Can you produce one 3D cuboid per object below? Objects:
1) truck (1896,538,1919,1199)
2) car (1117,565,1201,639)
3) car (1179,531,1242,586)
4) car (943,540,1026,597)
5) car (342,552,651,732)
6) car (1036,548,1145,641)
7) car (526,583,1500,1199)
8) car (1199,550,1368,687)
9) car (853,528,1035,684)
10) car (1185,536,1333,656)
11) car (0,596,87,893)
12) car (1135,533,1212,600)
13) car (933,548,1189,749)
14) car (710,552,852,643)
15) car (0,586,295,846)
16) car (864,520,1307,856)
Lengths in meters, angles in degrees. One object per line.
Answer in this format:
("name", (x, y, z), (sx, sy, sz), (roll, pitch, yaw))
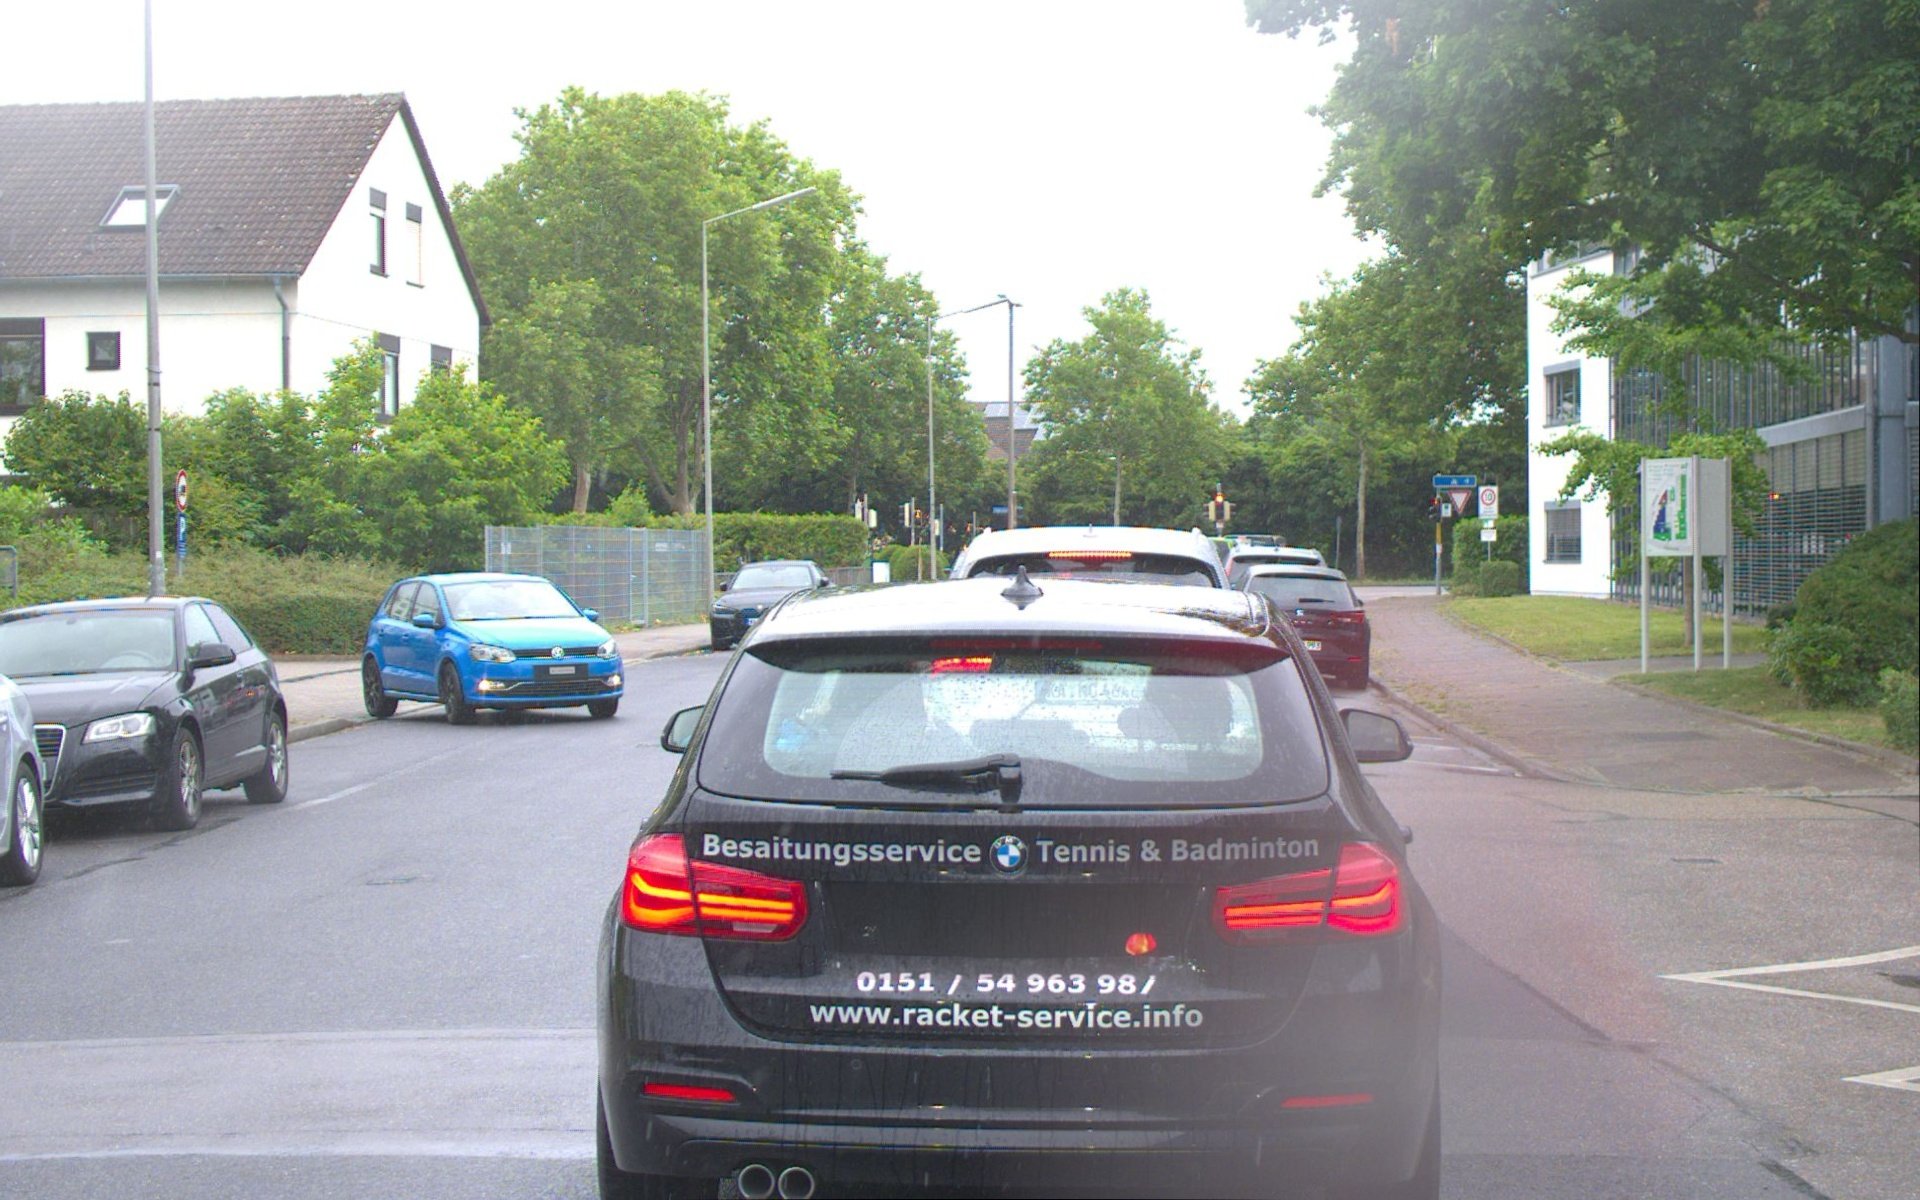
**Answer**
("truck", (3.050, -0.323, 1.840), (2.741, 3.598, 7.750), (2, 1, -1))
("car", (4.425, 0.027, 76.039), (1.804, 1.581, 3.999), (0, 0, 4))
("car", (7.339, -1.238, 101.083), (1.804, 1.581, 4.000), (0, 1, 4))
("car", (0.662, -0.836, 89.826), (1.706, 1.362, 3.837), (-3, 1, 7))
("car", (-4.616, 0.389, 33.822), (1.705, 1.589, 3.838), (-3, 1, -28))
("car", (2.364, -0.109, 61.267), (1.804, 1.581, 3.999), (0, 0, 4))
("car", (0.049, 0.664, 8.389), (1.804, 1.390, 4.000), (0, 0, -1))
("car", (3.915, 0.198, 42.093), (1.804, 1.581, 4.000), (0, 0, 2))
("car", (-0.120, 0.047, 36.929), (1.804, 1.581, 4.000), (0, 0, 2))
("car", (4.096, -0.066, 47.584), (1.804, 1.581, 4.000), (0, 0, 2))
("car", (-5.363, 0.742, 15.620), (1.705, 1.362, 4.602), (-3, 1, -2))
("car", (5.174, -0.829, 83.009), (1.804, 1.581, 4.000), (0, 1, 4))
("car", (0.782, 0.373, 29.183), (1.804, 1.581, 4.001), (0, 0, -4))
("car", (-2.980, -0.067, 58.007), (1.706, 1.362, 3.837), (-3, 1, 7))
("car", (-5.345, 0.663, 21.222), (1.705, 1.362, 3.838), (-3, 1, 0))
("car", (0.544, 0.404, 18.246), (1.804, 1.581, 4.001), (0, 0, -6))
